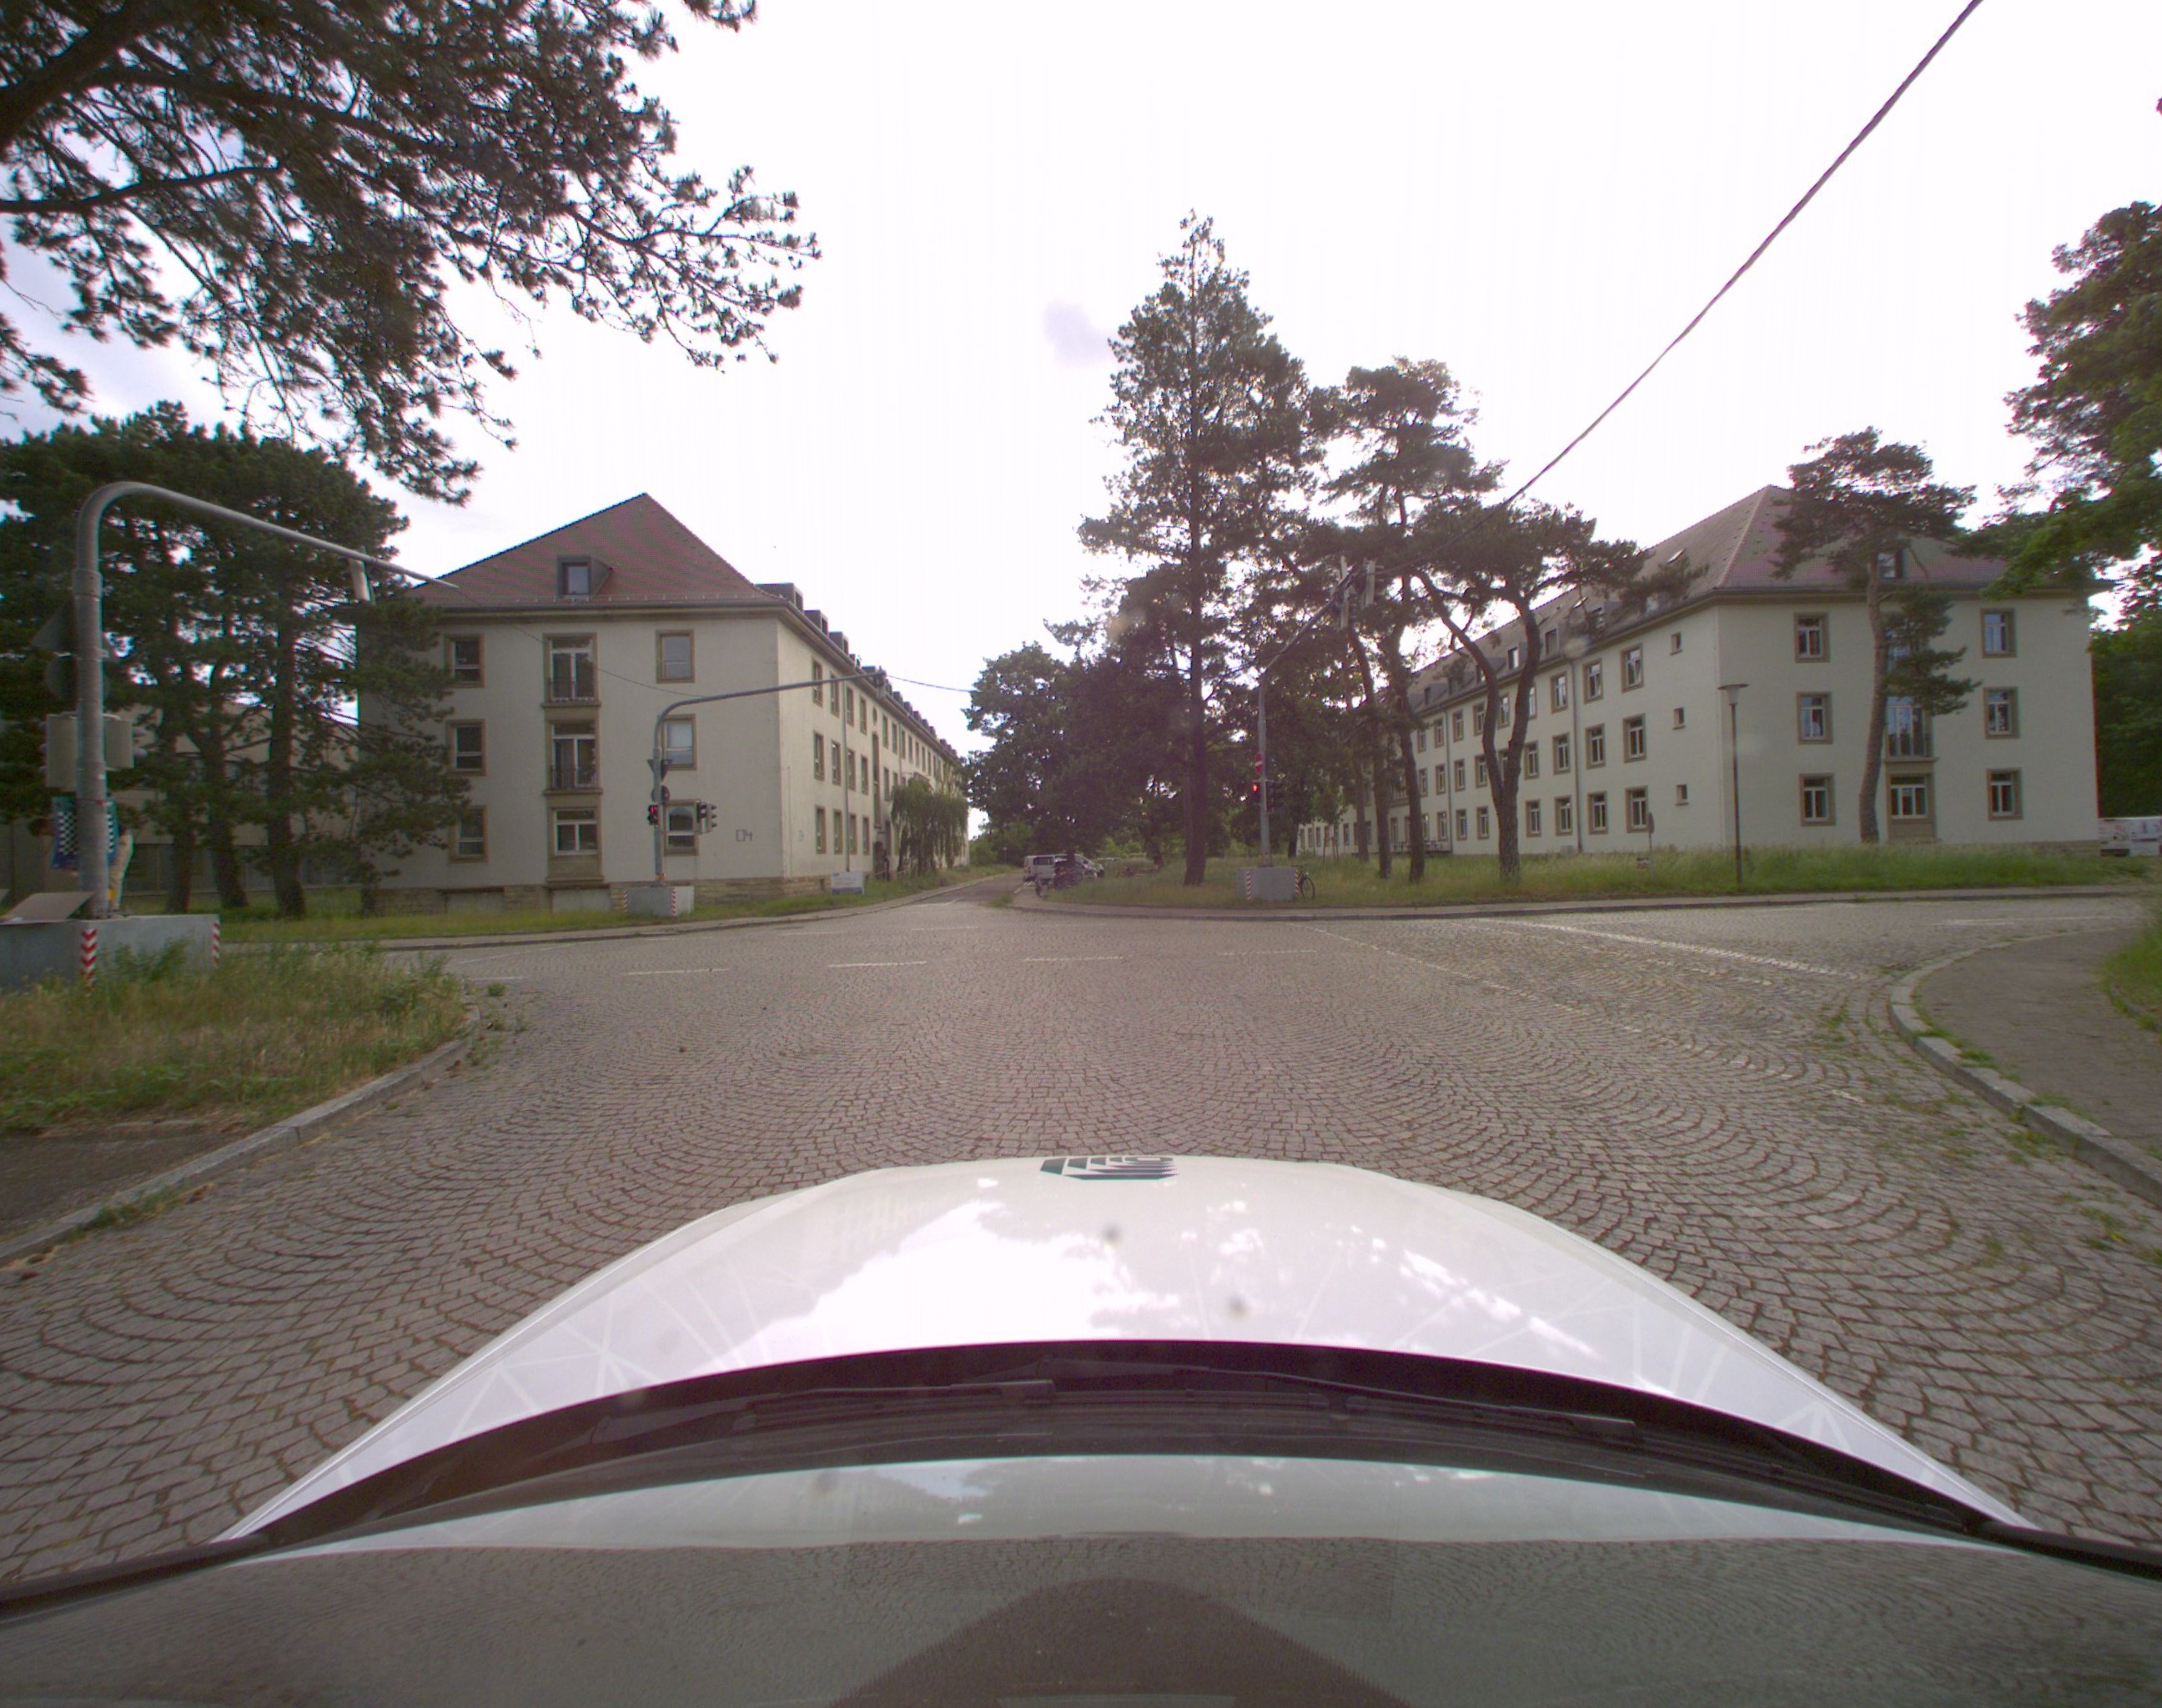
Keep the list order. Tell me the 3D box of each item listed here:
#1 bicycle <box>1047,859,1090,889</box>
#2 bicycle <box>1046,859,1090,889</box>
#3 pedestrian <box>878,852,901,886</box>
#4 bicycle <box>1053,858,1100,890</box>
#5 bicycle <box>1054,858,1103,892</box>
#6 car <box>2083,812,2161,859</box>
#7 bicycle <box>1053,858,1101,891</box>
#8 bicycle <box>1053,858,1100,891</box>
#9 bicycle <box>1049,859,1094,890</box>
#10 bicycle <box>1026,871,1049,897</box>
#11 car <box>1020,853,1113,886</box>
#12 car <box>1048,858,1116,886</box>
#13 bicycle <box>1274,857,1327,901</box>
[{"bbox_3d":[-0.610,0.955,39.536,2.064,1.378,0.620,-2,-1,-1],"label":"bicycle"},{"bbox_3d":[-0.609,0.944,38.789,2.064,1.378,0.620,-2,-1,-1],"label":"bicycle"},{"bbox_3d":[-11.838,0.922,50.327,1.082,2.014,1.023,-2,-1,4],"label":"pedestrian"},{"bbox_3d":[-0.201,0.924,37.264,2.064,1.378,0.620,-2,-1,-1],"label":"bicycle"},{"bbox_3d":[-0.120,0.895,35.175,2.064,1.378,0.620,-2,-1,-1],"label":"bicycle"},{"bbox_3d":[54.710,-0.979,41.234,5.164,2.288,2.213,-2,-1,0],"label":"car"},{"bbox_3d":[-0.177,0.904,35.844,2.064,1.378,0.620,-2,-1,-1],"label":"bicycle"},{"bbox_3d":[-0.193,0.913,36.468,2.064,1.378,0.620,-2,-1,-1],"label":"bicycle"},{"bbox_3d":[-0.443,0.933,38.056,2.064,1.378,0.620,-2,-1,-1],"label":"bicycle"},{"bbox_3d":[-1.767,1.202,33.327,0.615,0.963,2.080,-2,0,6],"label":"bicycle"},{"bbox_3d":[-0.945,0.965,53.039,5.699,1.910,2.219,-2,-1,-14],"label":"car"},{"bbox_3d":[0.018,1.062,49.696,3.927,1.544,1.996,-2,-1,-6],"label":"car"},{"bbox_3d":[6.192,0.697,23.090,0.906,1.177,1.873,-2,-1,-2],"label":"bicycle"}]
